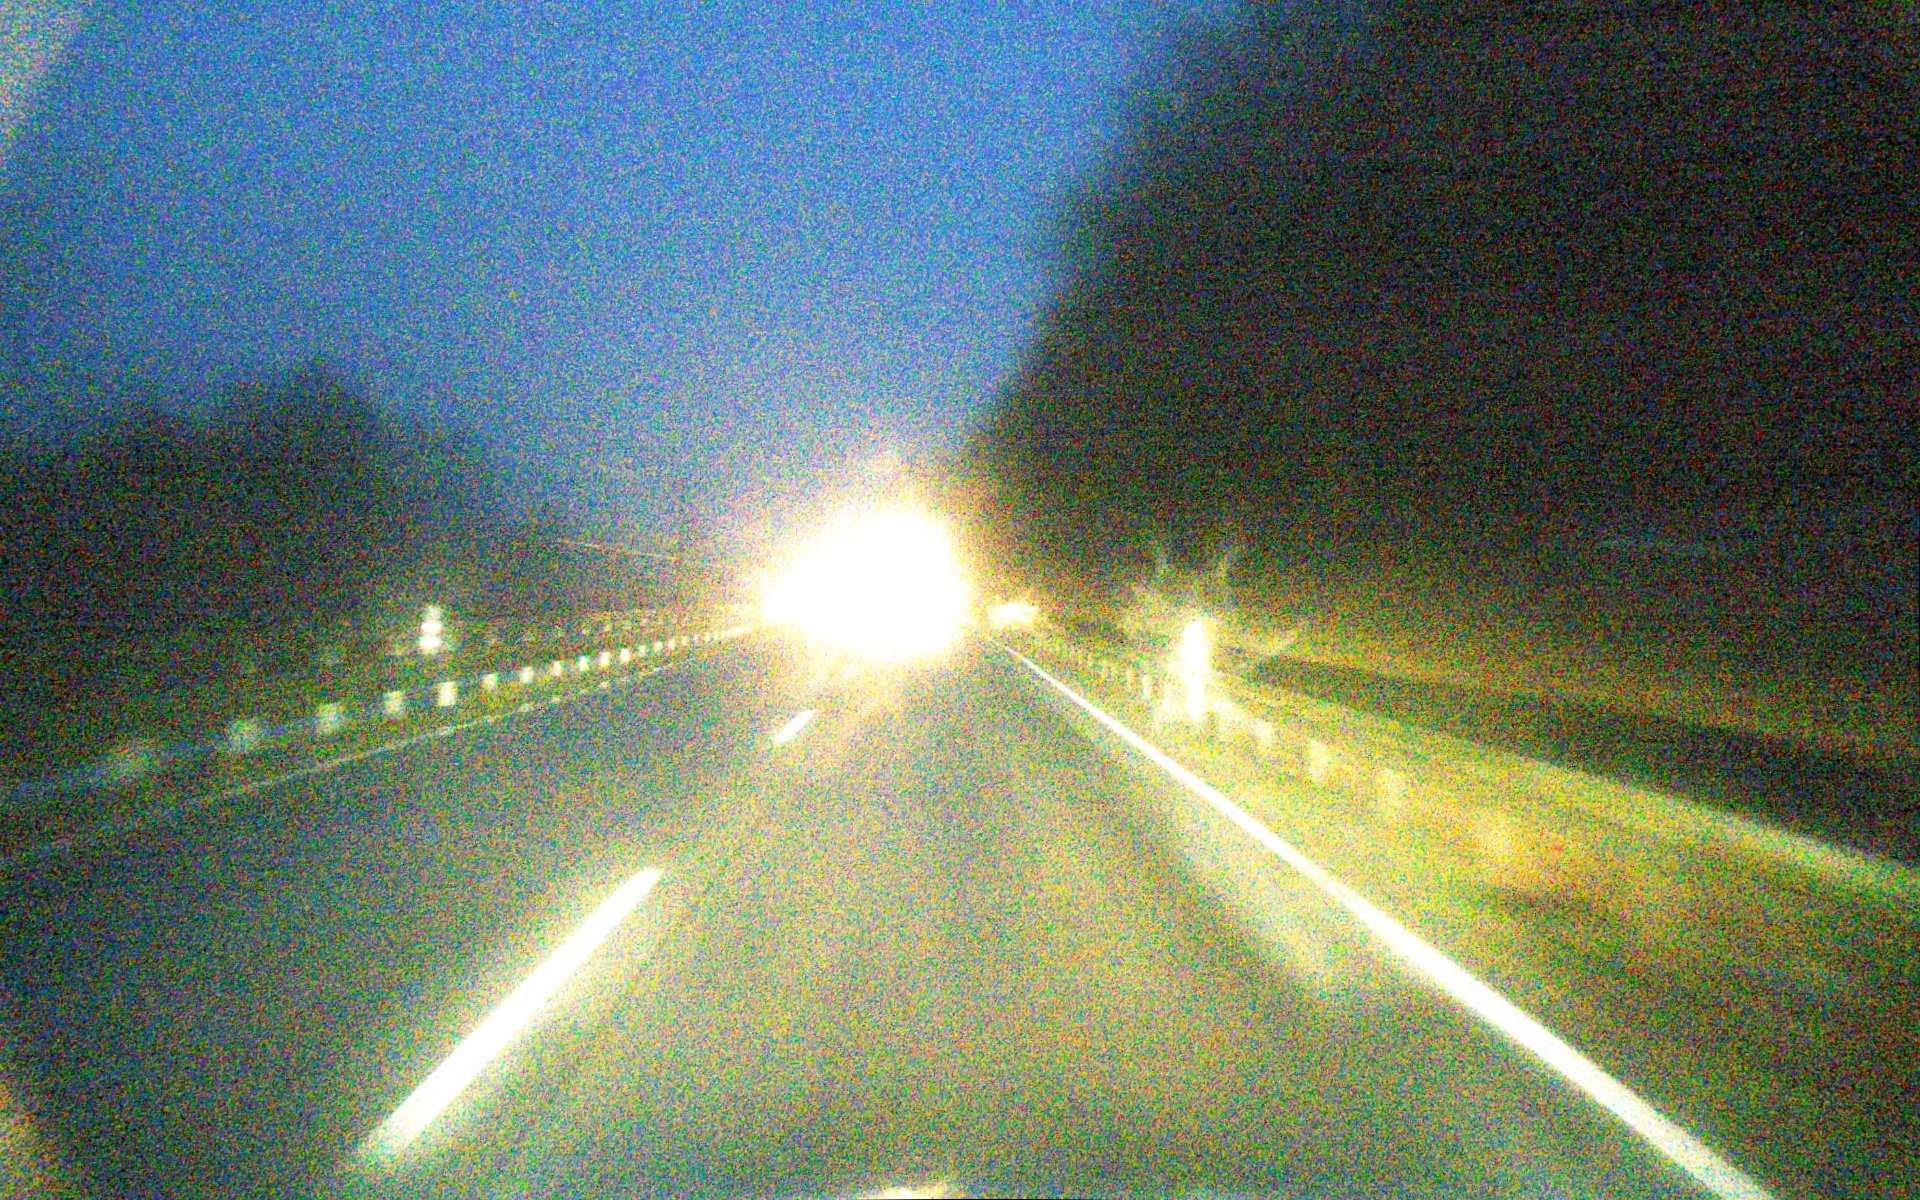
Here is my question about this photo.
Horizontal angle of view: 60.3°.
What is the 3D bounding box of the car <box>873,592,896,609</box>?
[{"bbox_3d":[-6.726,0.041,148.484,1.953,1.501,3.923,0,0,-1],"label":"car"}]
